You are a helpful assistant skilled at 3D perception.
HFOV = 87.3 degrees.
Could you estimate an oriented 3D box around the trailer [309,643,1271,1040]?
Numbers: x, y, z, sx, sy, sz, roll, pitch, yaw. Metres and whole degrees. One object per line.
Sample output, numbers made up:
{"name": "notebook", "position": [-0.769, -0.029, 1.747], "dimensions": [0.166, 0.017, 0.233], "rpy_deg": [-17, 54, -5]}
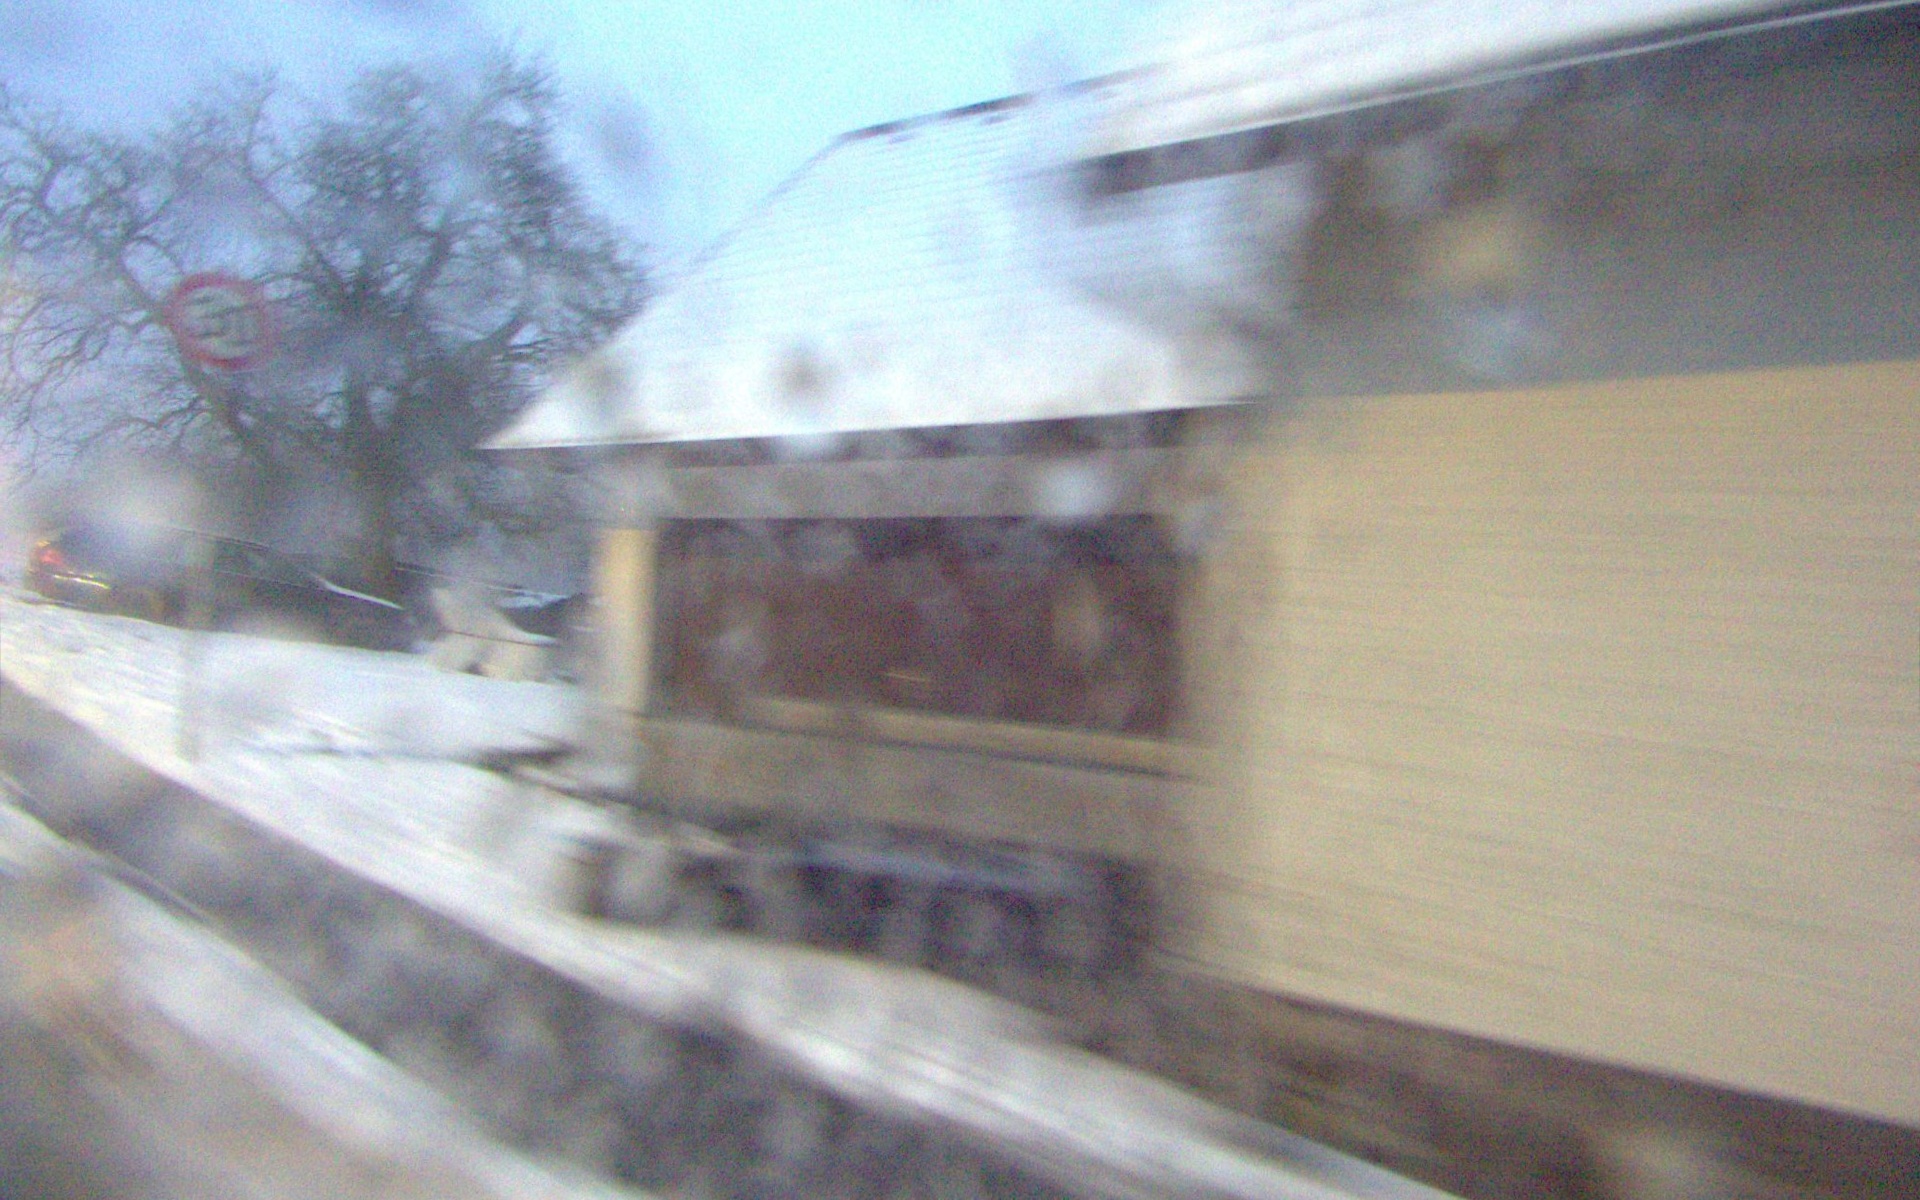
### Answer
{"name": "trailer", "position": [-0.708, 0.908, 4.717], "dimensions": [3.923, 0.957, 1.550], "rpy_deg": [6, 0, 11]}

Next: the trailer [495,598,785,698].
{"name": "trailer", "position": [-5.034, 0.827, 16.289], "dimensions": [2.210, 1.103, 3.876], "rpy_deg": [6, -3, 34]}

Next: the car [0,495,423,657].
{"name": "car", "position": [-10.557, -0.267, 14.481], "dimensions": [2.008, 1.395, 4.453], "rpy_deg": [5, -6, 41]}
